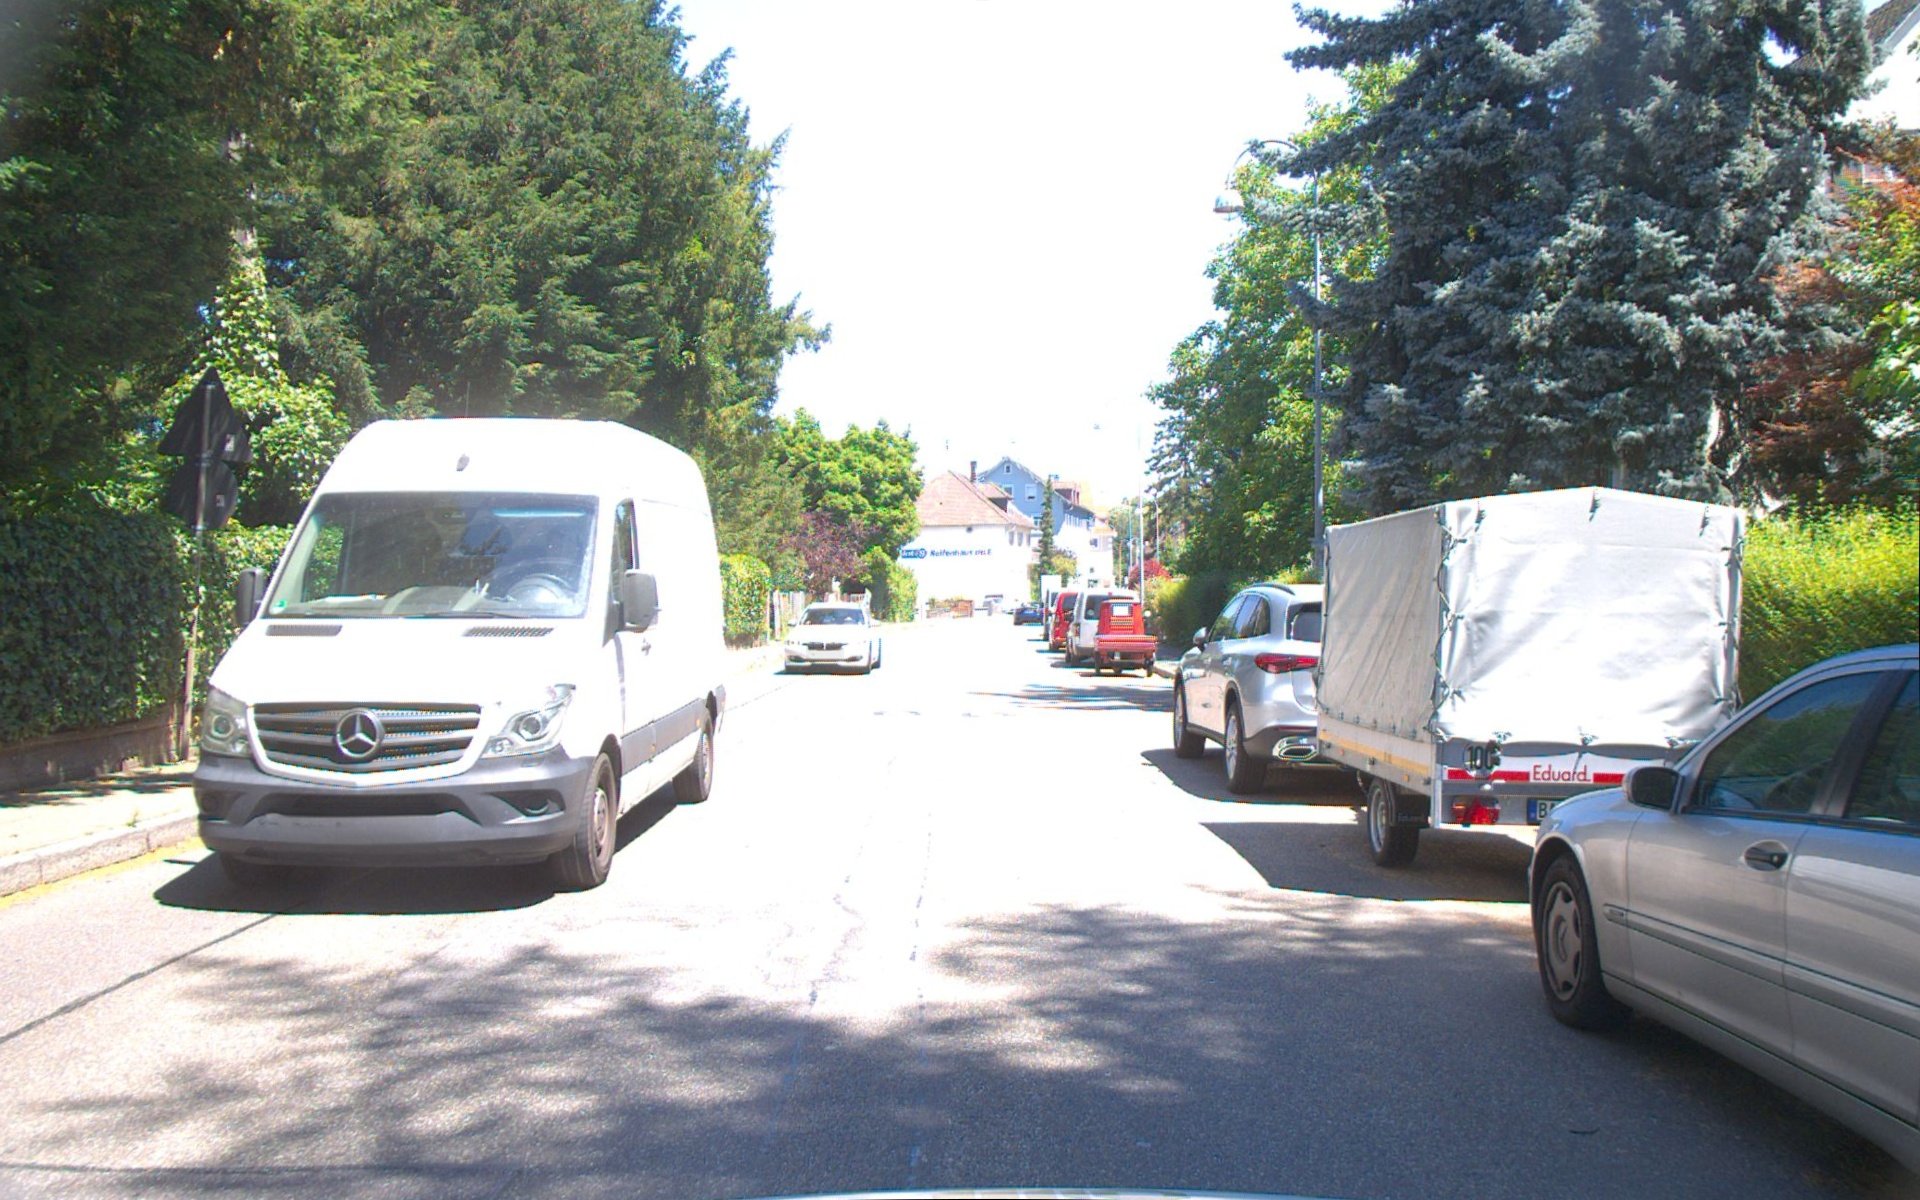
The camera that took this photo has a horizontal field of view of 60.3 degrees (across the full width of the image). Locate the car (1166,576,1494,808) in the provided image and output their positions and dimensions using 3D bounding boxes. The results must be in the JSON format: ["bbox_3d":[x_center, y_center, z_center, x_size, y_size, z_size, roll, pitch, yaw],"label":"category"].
[{"bbox_3d":[3.030,0.669,14.549,1.735,1.660,4.603,2,0,-1],"label":"car"}]

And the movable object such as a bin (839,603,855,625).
[{"bbox_3d":[-5.183,0.630,76.054,0.693,1.014,0.474,0,0,1],"label":"movable object such as a bin"}]

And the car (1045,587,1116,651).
[{"bbox_3d":[3.526,0.545,48.953,1.863,1.758,4.392,2,0,2],"label":"car"}]

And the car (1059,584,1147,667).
[{"bbox_3d":[3.332,0.575,39.191,1.710,1.813,4.543,2,0,1],"label":"car"}]

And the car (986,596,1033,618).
[{"bbox_3d":[4.347,0.608,145.004,4.041,1.805,1.830,0,0,6],"label":"car"}]

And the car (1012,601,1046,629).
[{"bbox_3d":[4.044,0.888,96.249,1.756,1.537,4.002,2,-1,5],"label":"car"}]

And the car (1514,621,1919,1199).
[{"bbox_3d":[2.986,0.797,4.368,1.581,1.420,4.258,2,-1,0],"label":"car"}]

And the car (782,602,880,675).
[{"bbox_3d":[-2.700,0.768,35.453,1.826,1.407,4.603,-1,0,-1],"label":"car"}]

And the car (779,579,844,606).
[{"bbox_3d":[-9.194,-0.440,102.587,3.906,1.537,1.799,2,0,-2],"label":"car"}]

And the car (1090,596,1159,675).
[{"bbox_3d":[3.369,0.709,34.202,1.234,1.521,2.710,2,0,3],"label":"car"}]

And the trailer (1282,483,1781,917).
[{"bbox_3d":[3.202,0.488,10.066,1.646,2.104,3.707,2,0,-1],"label":"trailer"}]

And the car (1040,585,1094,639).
[{"bbox_3d":[4.018,0.436,62.573,1.863,1.958,4.720,1,0,2],"label":"car"}]

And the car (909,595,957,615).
[{"bbox_3d":[-2.237,0.383,134.814,1.786,1.536,3.936,0,1,-43],"label":"car"}]

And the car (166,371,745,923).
[{"bbox_3d":[-2.744,0.212,10.687,1.953,2.577,5.894,0,0,0],"label":"car"}]
